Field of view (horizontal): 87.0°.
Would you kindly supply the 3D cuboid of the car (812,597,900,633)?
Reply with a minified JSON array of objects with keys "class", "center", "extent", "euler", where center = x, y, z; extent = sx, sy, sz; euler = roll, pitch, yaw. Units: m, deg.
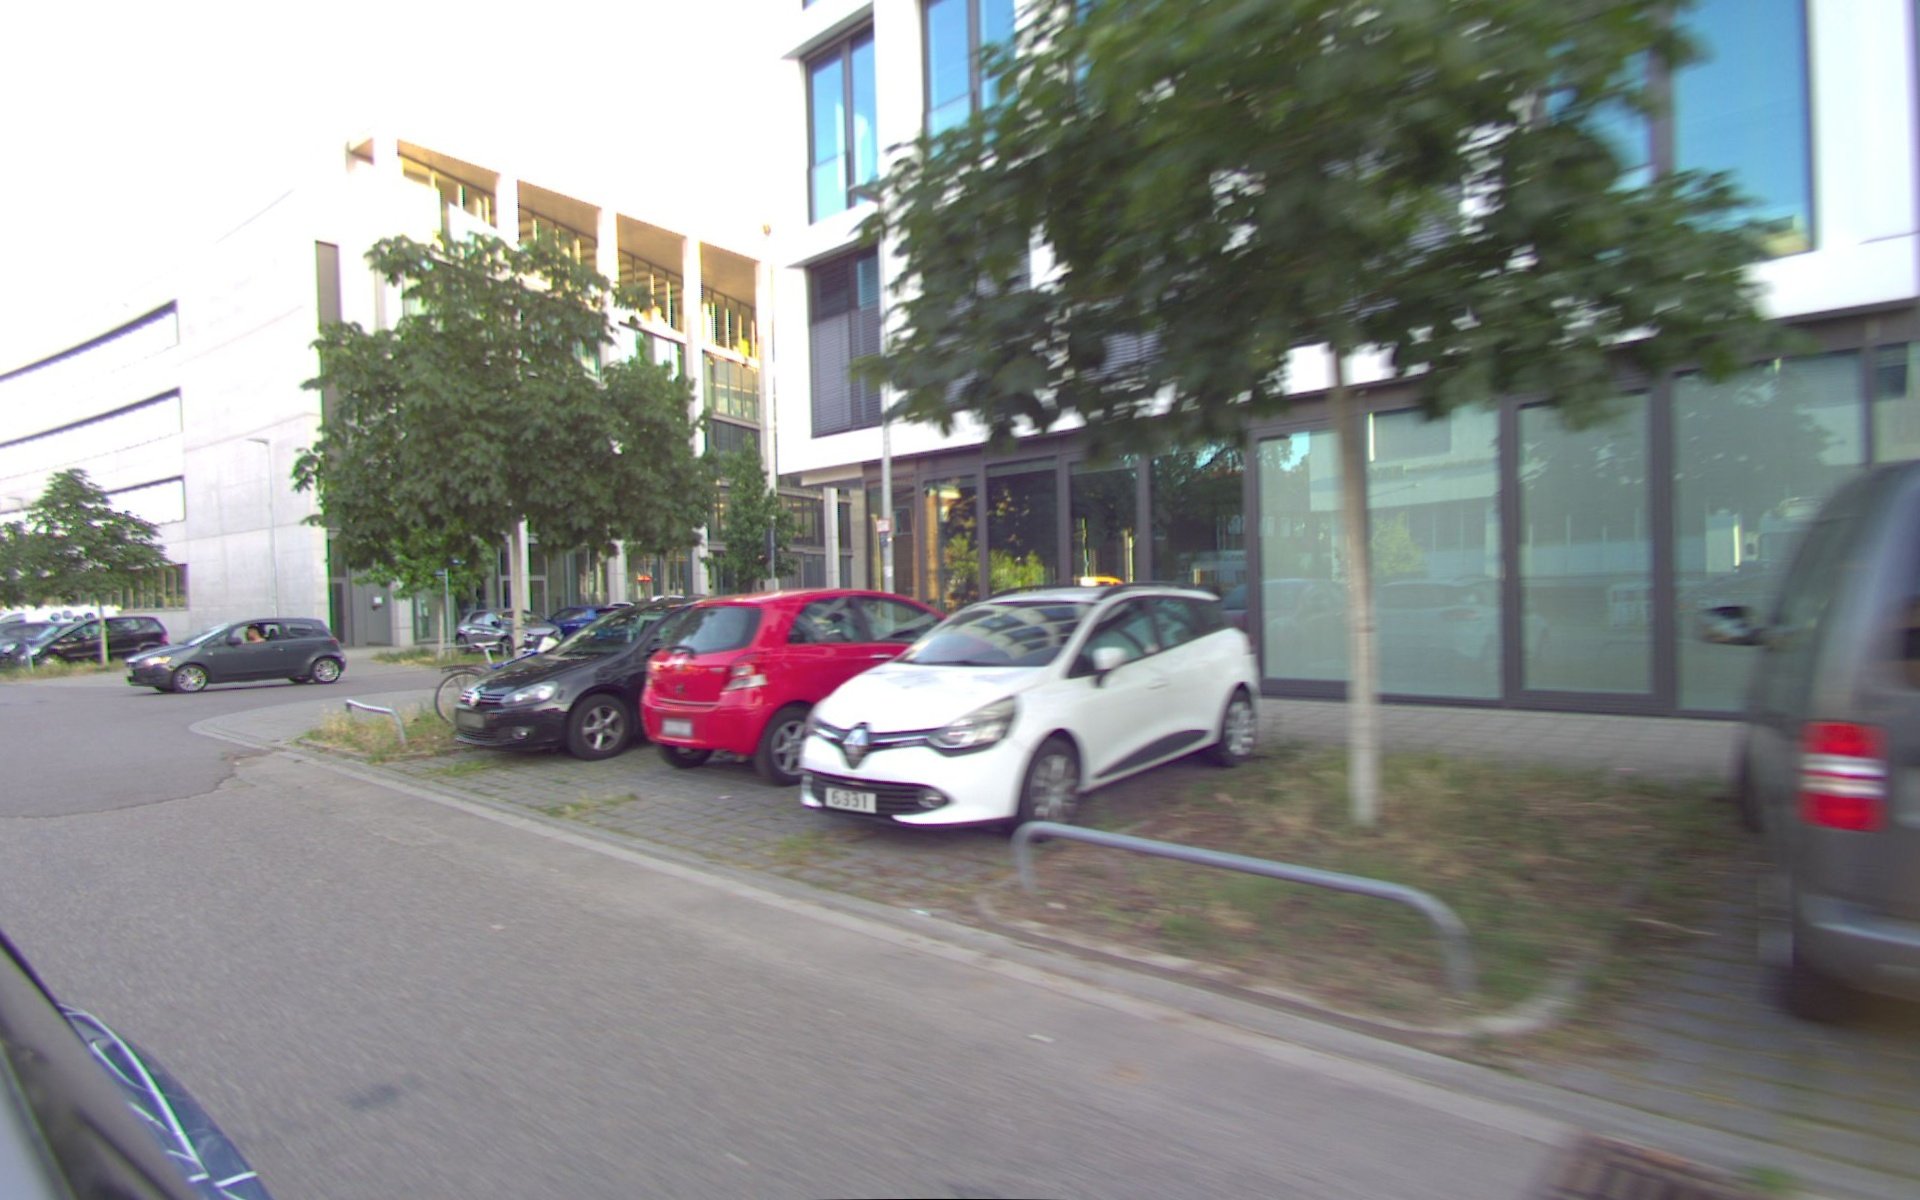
[{"class":"car","center":[-4.762,0.648,46.025],"extent":[3.847,1.517,1.631],"euler":[0,1,34]}]

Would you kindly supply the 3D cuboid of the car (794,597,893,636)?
[{"class":"car","center":[-4.987,0.667,43.143],"extent":[4.126,1.585,1.631],"euler":[0,1,34]}]

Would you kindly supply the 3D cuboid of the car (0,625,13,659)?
[{"class":"car","center":[-41.430,1.849,41.274],"extent":[1.795,1.370,3.771],"euler":[-2,2,34]}]

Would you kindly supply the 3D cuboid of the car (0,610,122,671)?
[{"class":"car","center":[-33.313,1.460,36.000],"extent":[1.884,1.895,5.028],"euler":[-2,2,34]}]

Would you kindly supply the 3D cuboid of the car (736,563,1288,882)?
[{"class":"car","center":[0.641,0.578,7.164],"extent":[1.779,1.530,4.067],"euler":[-2,1,40]}]

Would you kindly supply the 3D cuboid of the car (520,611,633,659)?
[{"class":"car","center":[-12.746,1.113,33.612],"extent":[3.894,1.439,1.544],"euler":[0,1,34]}]

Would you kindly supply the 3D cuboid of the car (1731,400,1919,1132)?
[{"class":"car","center":[4.104,0.320,3.770],"extent":[1.813,1.830,4.072],"euler":[-2,1,36]}]

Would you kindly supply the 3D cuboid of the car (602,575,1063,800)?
[{"class":"car","center":[-0.965,0.614,9.446],"extent":[1.843,1.530,4.067],"euler":[-2,1,40]}]

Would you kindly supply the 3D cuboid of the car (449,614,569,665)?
[{"class":"car","center":[-14.051,1.183,31.455],"extent":[3.808,1.396,1.631],"euler":[0,1,34]}]

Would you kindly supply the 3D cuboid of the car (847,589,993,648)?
[{"class":"car","center":[-1.294,0.588,31.609],"extent":[4.362,1.664,1.710],"euler":[-2,0,36]}]

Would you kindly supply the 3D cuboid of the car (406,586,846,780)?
[{"class":"car","center":[-3.338,0.715,10.787],"extent":[1.843,1.530,4.068],"euler":[-2,1,39]}]

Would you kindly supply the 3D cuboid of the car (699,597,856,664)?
[{"class":"car","center":[-4.585,0.773,25.303],"extent":[3.716,1.507,1.710],"euler":[-2,0,36]}]

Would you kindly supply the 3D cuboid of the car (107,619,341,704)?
[{"class":"car","center":[-15.581,1.247,21.581],"extent":[1.646,1.506,3.692],"euler":[-2,0,36]}]

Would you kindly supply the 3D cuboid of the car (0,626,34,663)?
[{"class":"car","center":[-39.268,1.860,39.853],"extent":[1.795,1.370,3.771],"euler":[-2,2,34]}]

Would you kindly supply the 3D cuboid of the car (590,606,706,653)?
[{"class":"car","center":[-10.851,0.979,35.125],"extent":[4.126,1.503,1.631],"euler":[0,1,34]}]

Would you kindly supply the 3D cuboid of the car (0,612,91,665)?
[{"class":"car","center":[-37.197,1.568,39.167],"extent":[1.884,1.841,5.028],"euler":[-2,2,34]}]

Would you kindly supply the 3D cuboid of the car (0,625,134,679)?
[{"class":"car","center":[-29.194,1.646,32.679],"extent":[1.724,1.435,3.610],"euler":[-2,2,39]}]

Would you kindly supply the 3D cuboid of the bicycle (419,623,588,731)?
[{"class":"bicycle","center":[-5.312,0.859,11.855],"extent":[0.566,1.073,1.678],"euler":[-2,1,41]}]

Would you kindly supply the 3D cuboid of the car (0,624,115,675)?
[{"class":"car","center":[-31.193,1.663,34.299],"extent":[1.723,1.435,3.611],"euler":[-2,2,38]}]

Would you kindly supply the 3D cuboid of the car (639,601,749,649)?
[{"class":"car","center":[-9.897,0.892,37.579],"extent":[4.126,1.640,1.631],"euler":[0,1,34]}]

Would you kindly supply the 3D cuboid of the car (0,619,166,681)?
[{"class":"car","center":[-26.977,1.482,31.206],"extent":[1.724,1.559,3.610],"euler":[-2,2,39]}]
